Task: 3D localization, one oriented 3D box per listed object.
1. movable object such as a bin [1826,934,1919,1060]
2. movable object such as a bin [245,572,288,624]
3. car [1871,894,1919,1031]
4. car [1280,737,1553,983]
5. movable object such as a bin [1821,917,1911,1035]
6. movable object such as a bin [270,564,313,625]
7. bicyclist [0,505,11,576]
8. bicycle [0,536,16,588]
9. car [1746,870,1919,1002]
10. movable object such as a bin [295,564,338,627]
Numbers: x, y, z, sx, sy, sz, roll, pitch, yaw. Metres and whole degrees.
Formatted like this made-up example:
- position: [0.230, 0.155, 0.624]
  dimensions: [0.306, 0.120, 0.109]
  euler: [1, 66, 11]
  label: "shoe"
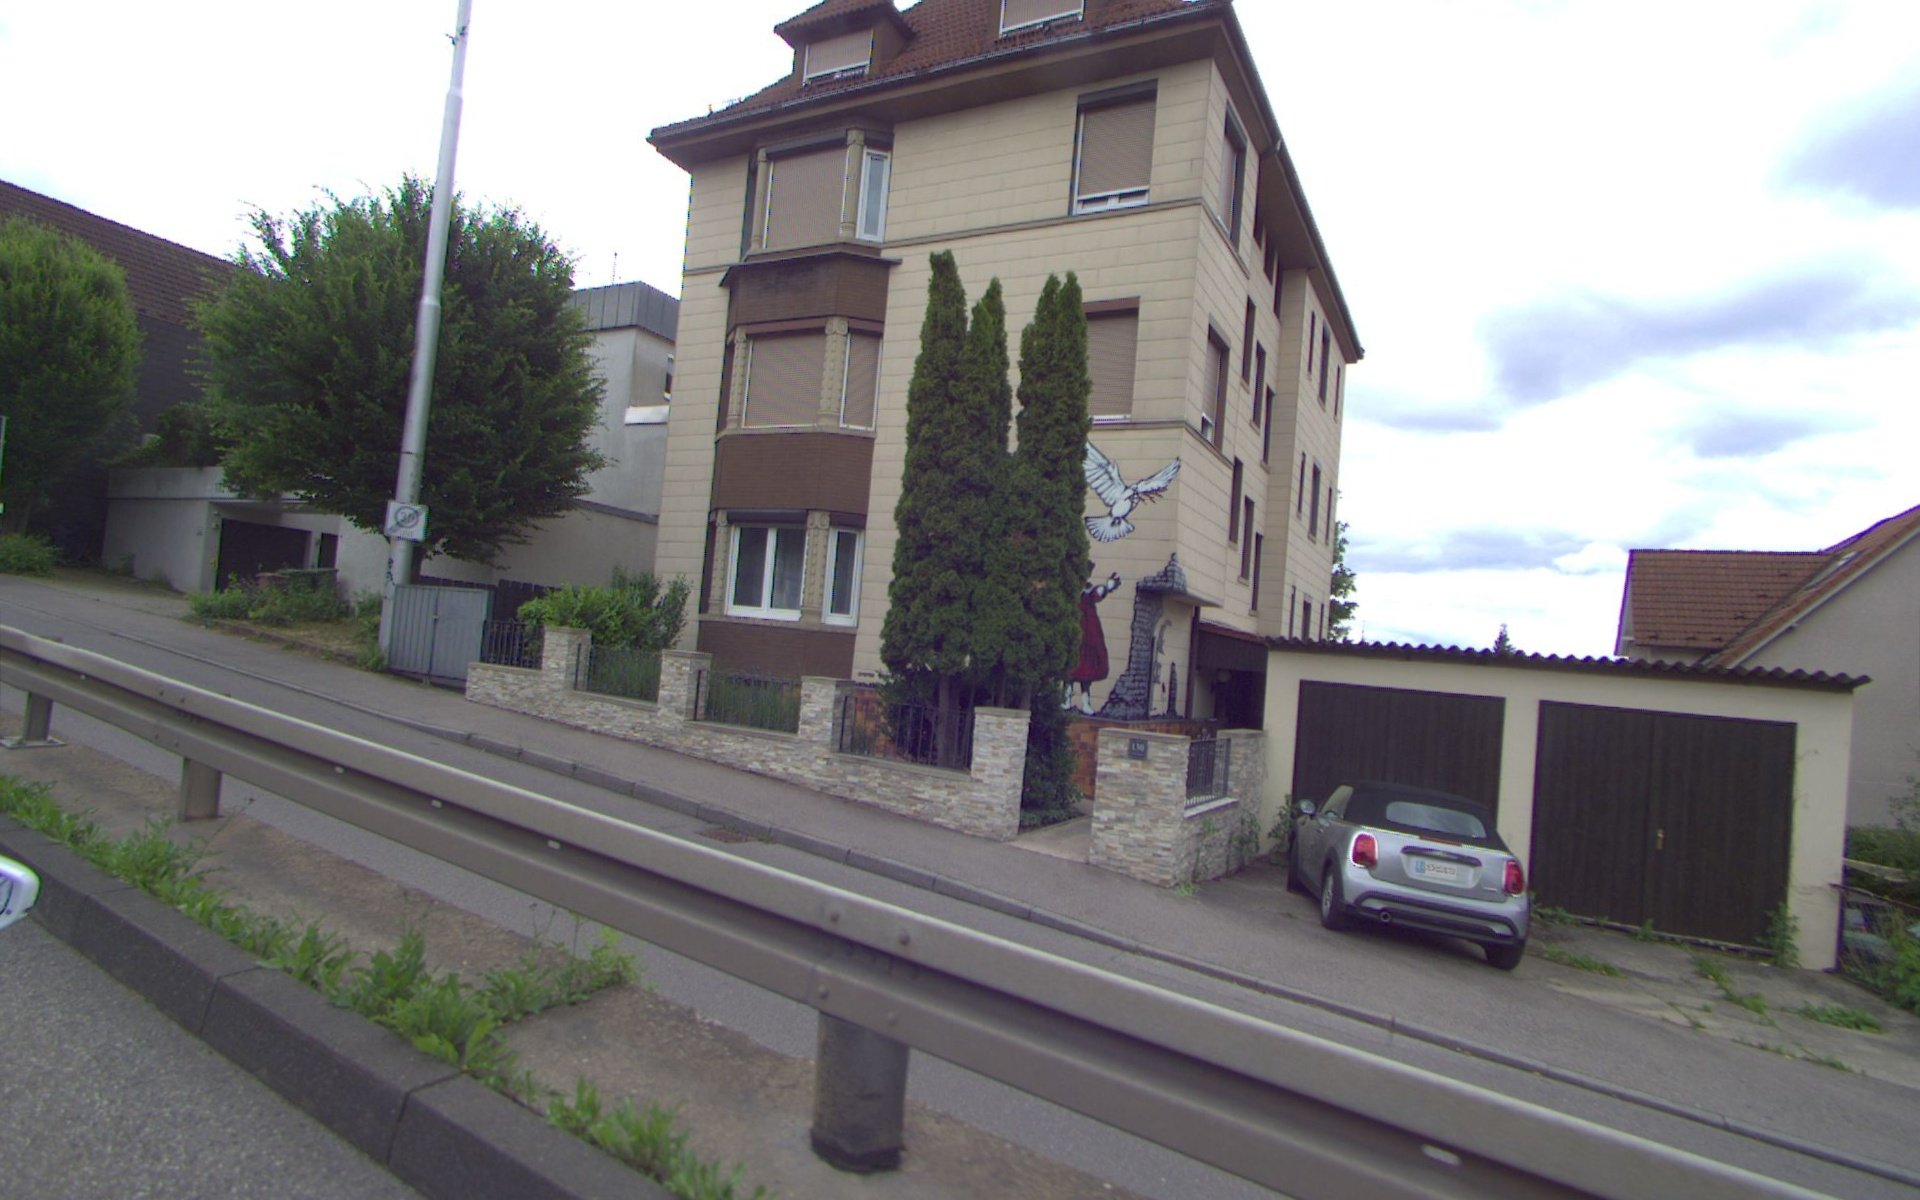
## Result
- position: [9.592, 4.137, 10.552]
  dimensions: [0.612, 1.017, 0.534]
  euler: [7, -2, 34]
  label: "movable object such as a bin"
- position: [-15.634, -0.049, 22.677]
  dimensions: [0.529, 1.069, 0.495]
  euler: [8, -2, 31]
  label: "movable object such as a bin"
- position: [13.173, 4.810, 12.550]
  dimensions: [1.804, 1.596, 3.679]
  euler: [7, -7, 30]
  label: "car"
- position: [4.484, 2.469, 10.469]
  dimensions: [1.672, 1.452, 3.617]
  euler: [10, 0, 13]
  label: "car"
- position: [10.329, 4.270, 11.490]
  dimensions: [0.579, 1.057, 0.578]
  euler: [7, -2, 34]
  label: "movable object such as a bin"
- position: [-15.361, -0.127, 23.114]
  dimensions: [0.529, 1.287, 0.495]
  euler: [8, -2, 31]
  label: "movable object such as a bin"
- position: [-21.616, -1.365, 22.264]
  dimensions: [0.942, 1.545, 0.567]
  euler: [7, 3, 29]
  label: "bicyclist"
- position: [-21.794, -0.920, 22.369]
  dimensions: [1.971, 1.077, 0.567]
  euler: [7, 2, 29]
  label: "bicycle"
- position: [15.893, 5.997, 18.325]
  dimensions: [1.804, 1.596, 3.679]
  euler: [7, -7, 30]
  label: "car"
- position: [-15.167, -0.104, 23.707]
  dimensions: [0.529, 1.379, 0.495]
  euler: [8, -2, 31]
  label: "movable object such as a bin"
